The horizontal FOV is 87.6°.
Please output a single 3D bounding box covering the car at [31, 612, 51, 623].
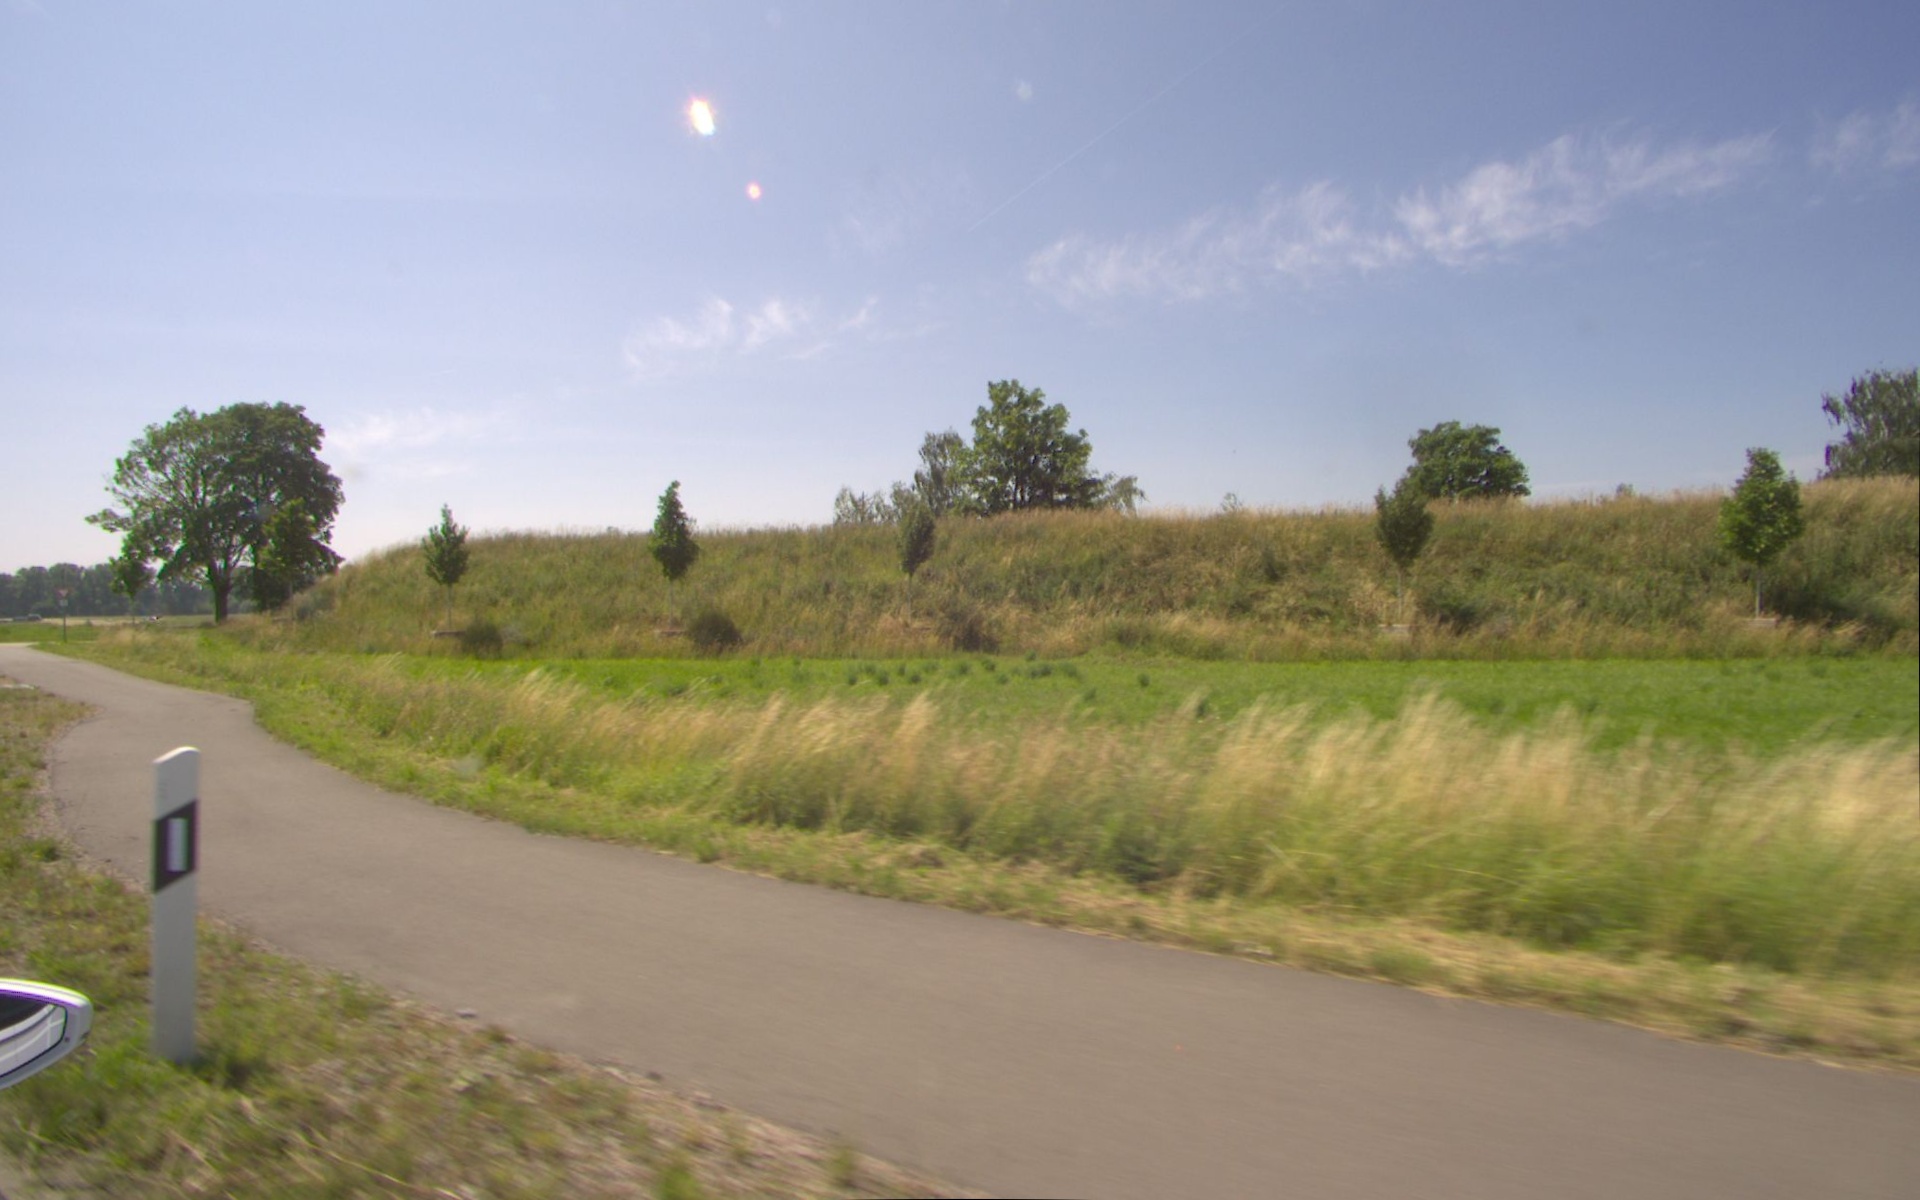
[{"bbox_3d":[-144.647,2.744,157.640,1.782,1.542,3.855,-3,2,-35],"label":"car"}]
